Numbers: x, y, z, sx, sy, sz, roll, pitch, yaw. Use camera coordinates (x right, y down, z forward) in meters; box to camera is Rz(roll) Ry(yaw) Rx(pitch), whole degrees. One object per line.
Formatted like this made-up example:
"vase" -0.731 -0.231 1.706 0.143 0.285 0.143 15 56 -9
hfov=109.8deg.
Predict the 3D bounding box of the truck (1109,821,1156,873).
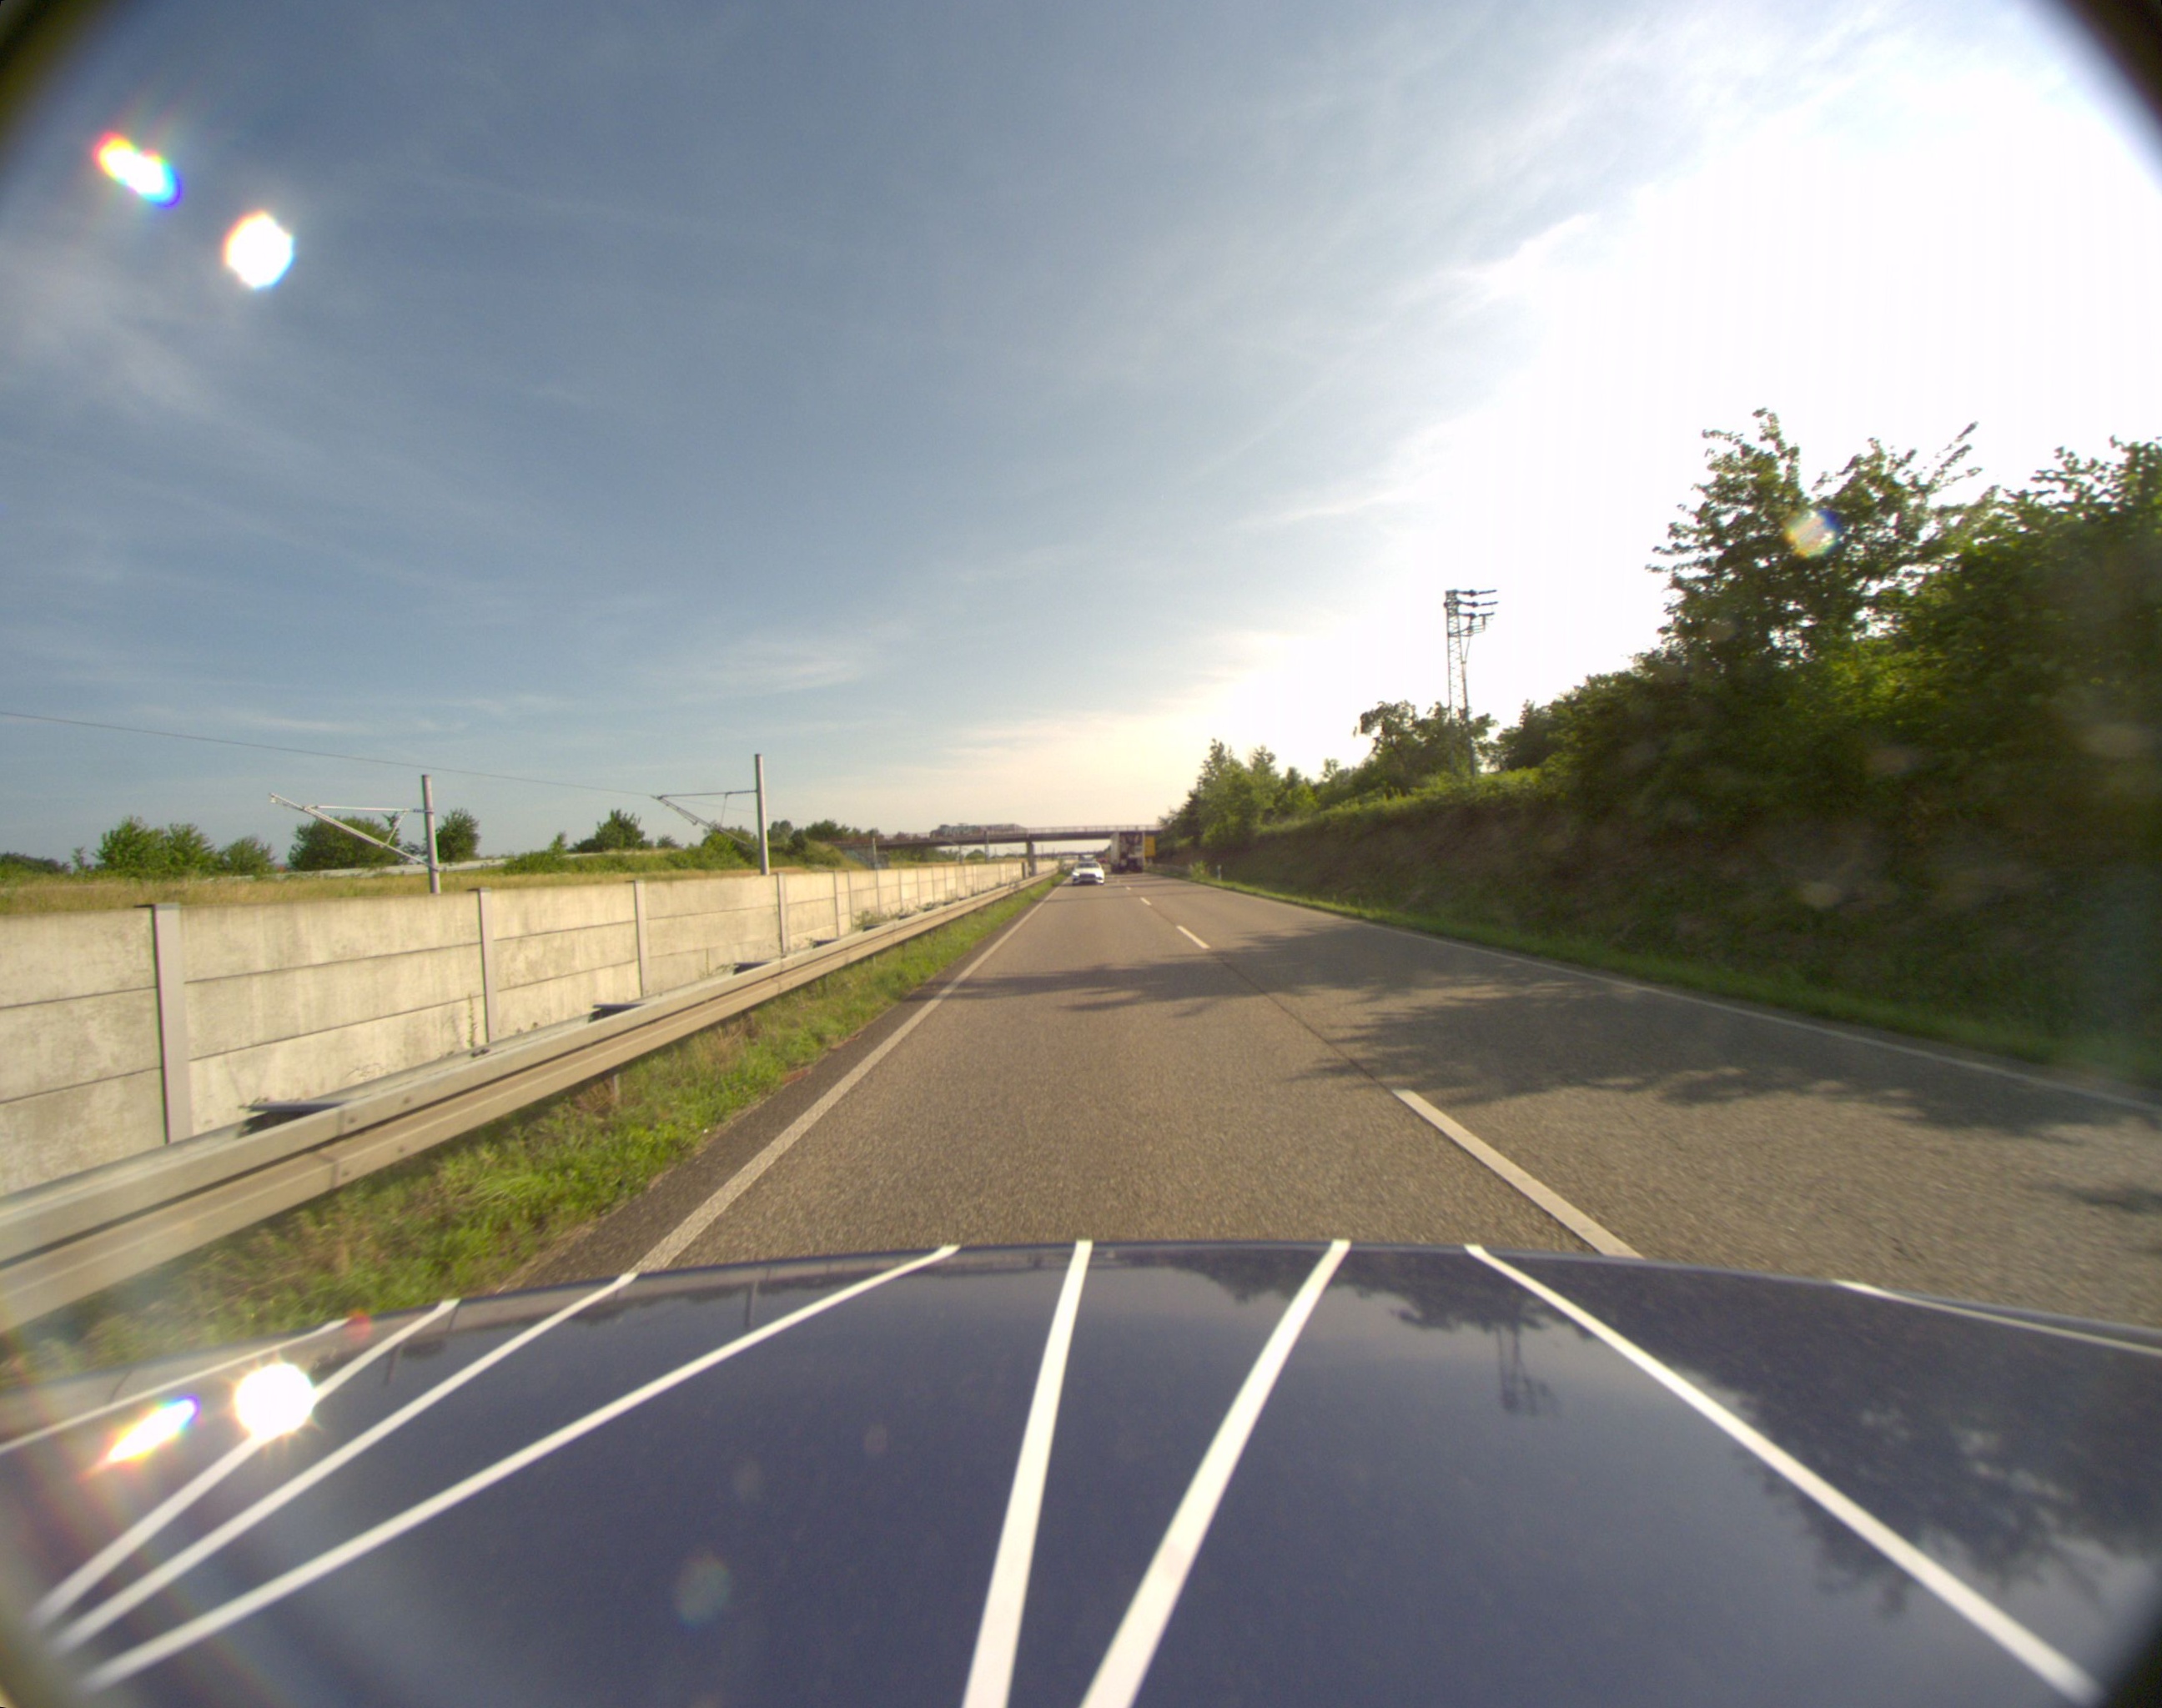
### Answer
"truck" 5.069 -0.640 79.963 3.792 4.617 19.839 -2 0 1

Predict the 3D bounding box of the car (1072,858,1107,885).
"car" 0.518 1.025 46.131 1.952 1.430 4.612 -2 0 1
